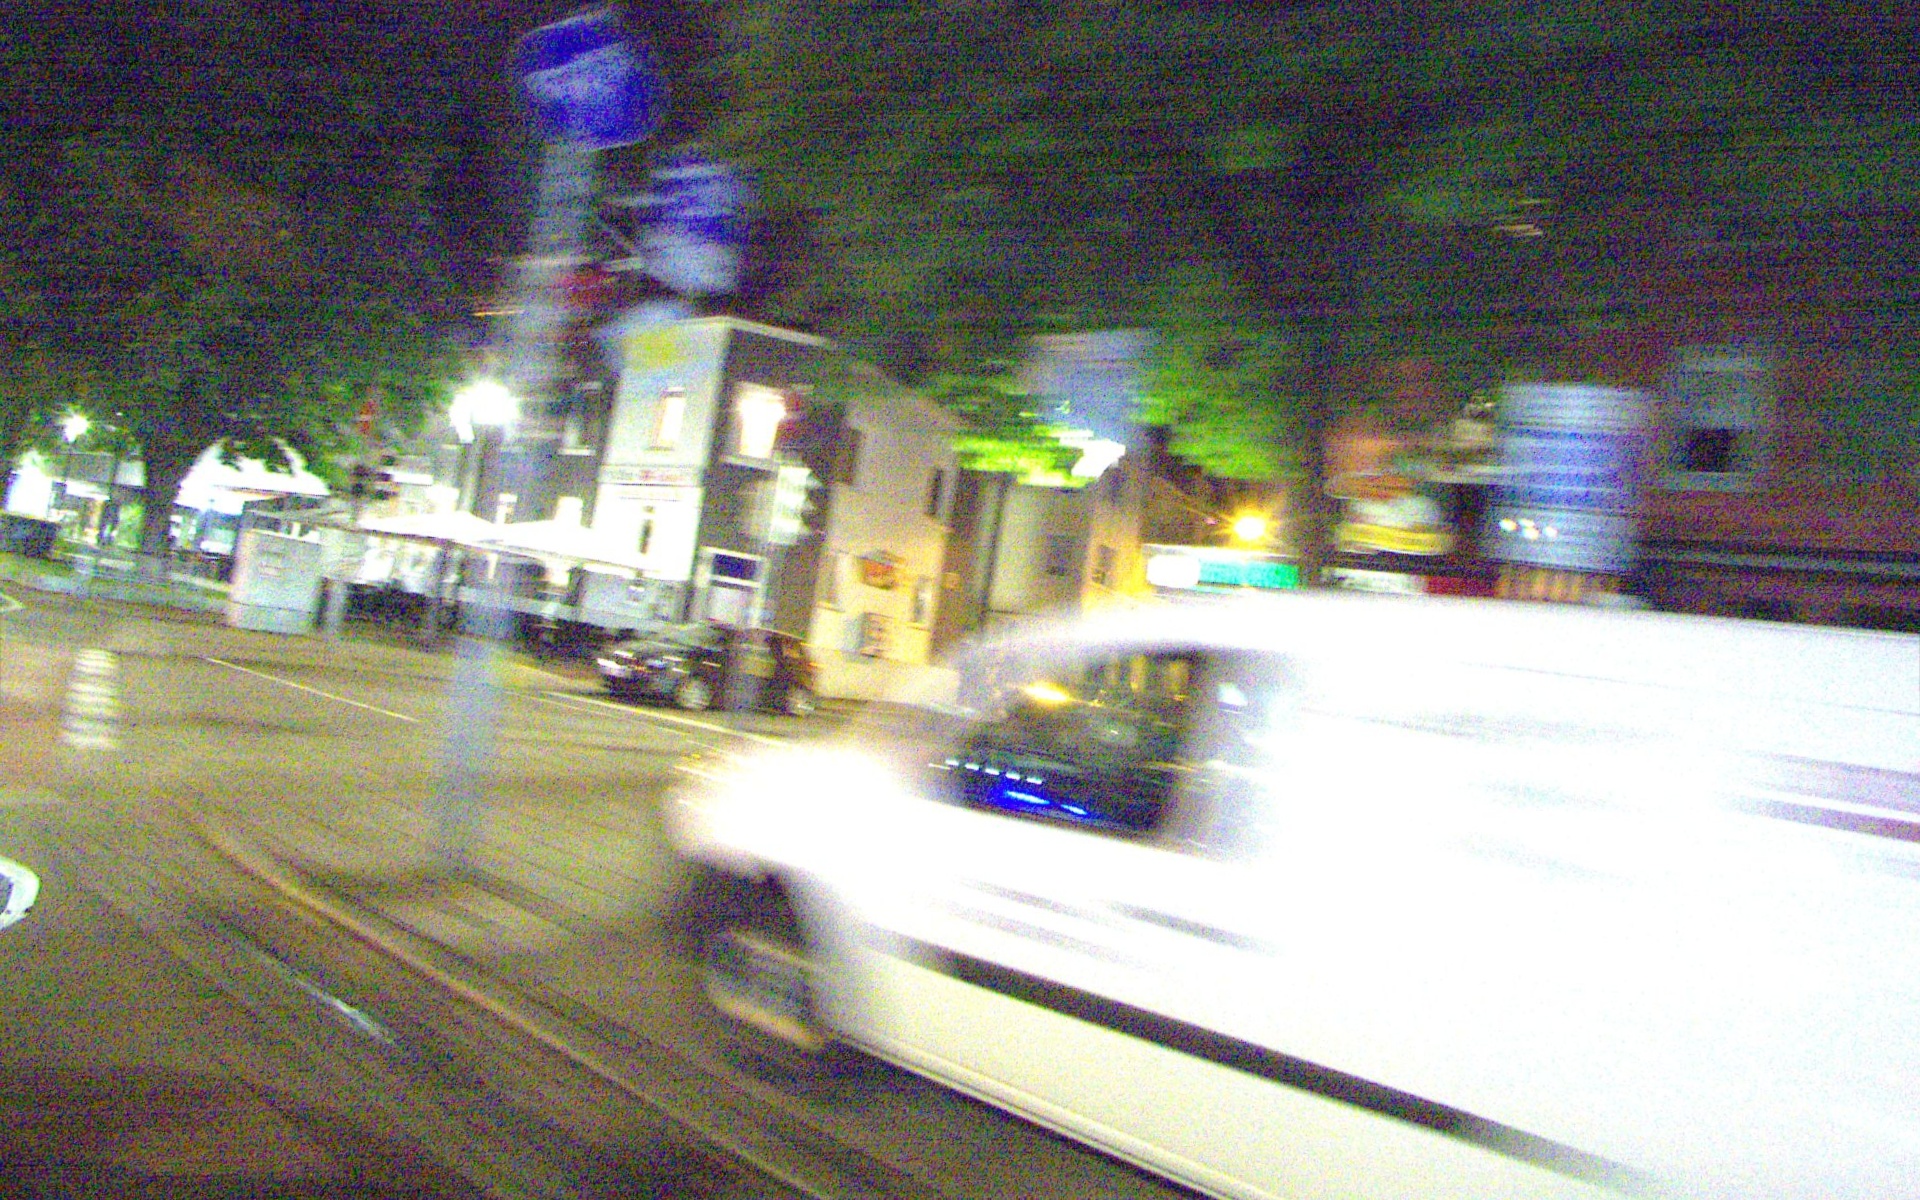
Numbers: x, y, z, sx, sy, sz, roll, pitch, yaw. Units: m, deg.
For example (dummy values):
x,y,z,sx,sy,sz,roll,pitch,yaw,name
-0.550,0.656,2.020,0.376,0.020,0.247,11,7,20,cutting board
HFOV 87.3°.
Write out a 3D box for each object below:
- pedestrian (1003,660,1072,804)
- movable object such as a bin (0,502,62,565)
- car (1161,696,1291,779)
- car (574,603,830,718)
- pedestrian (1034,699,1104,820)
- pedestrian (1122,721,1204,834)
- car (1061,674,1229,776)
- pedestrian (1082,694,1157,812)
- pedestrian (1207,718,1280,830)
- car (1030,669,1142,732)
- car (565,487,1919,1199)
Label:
x,y,z,sx,sy,sz,roll,pitch,yaw,name
0.906,1.544,11.817,0.475,1.604,0.370,9,-2,-21,pedestrian
-24.377,-1.746,26.138,0.977,1.385,1.164,7,-4,32,movable object such as a bin
6.666,3.388,24.899,1.774,1.567,4.152,9,-2,33,car
-4.504,1.174,18.235,1.774,1.547,4.327,6,-5,32,car
1.161,1.698,10.768,0.385,1.181,0.516,9,-3,-21,pedestrian
2.133,1.857,10.591,0.523,1.064,0.499,10,-3,-26,pedestrian
3.869,2.549,20.461,1.774,1.567,4.152,9,-2,33,car
1.879,1.802,11.873,0.523,1.277,0.499,10,-3,-26,pedestrian
3.561,2.182,12.655,0.497,1.277,0.526,10,-3,-28,pedestrian
4.030,3.195,31.616,1.774,1.566,4.154,4,-5,32,car
1.063,0.843,3.154,4.505,1.842,1.793,7,-3,33,car
